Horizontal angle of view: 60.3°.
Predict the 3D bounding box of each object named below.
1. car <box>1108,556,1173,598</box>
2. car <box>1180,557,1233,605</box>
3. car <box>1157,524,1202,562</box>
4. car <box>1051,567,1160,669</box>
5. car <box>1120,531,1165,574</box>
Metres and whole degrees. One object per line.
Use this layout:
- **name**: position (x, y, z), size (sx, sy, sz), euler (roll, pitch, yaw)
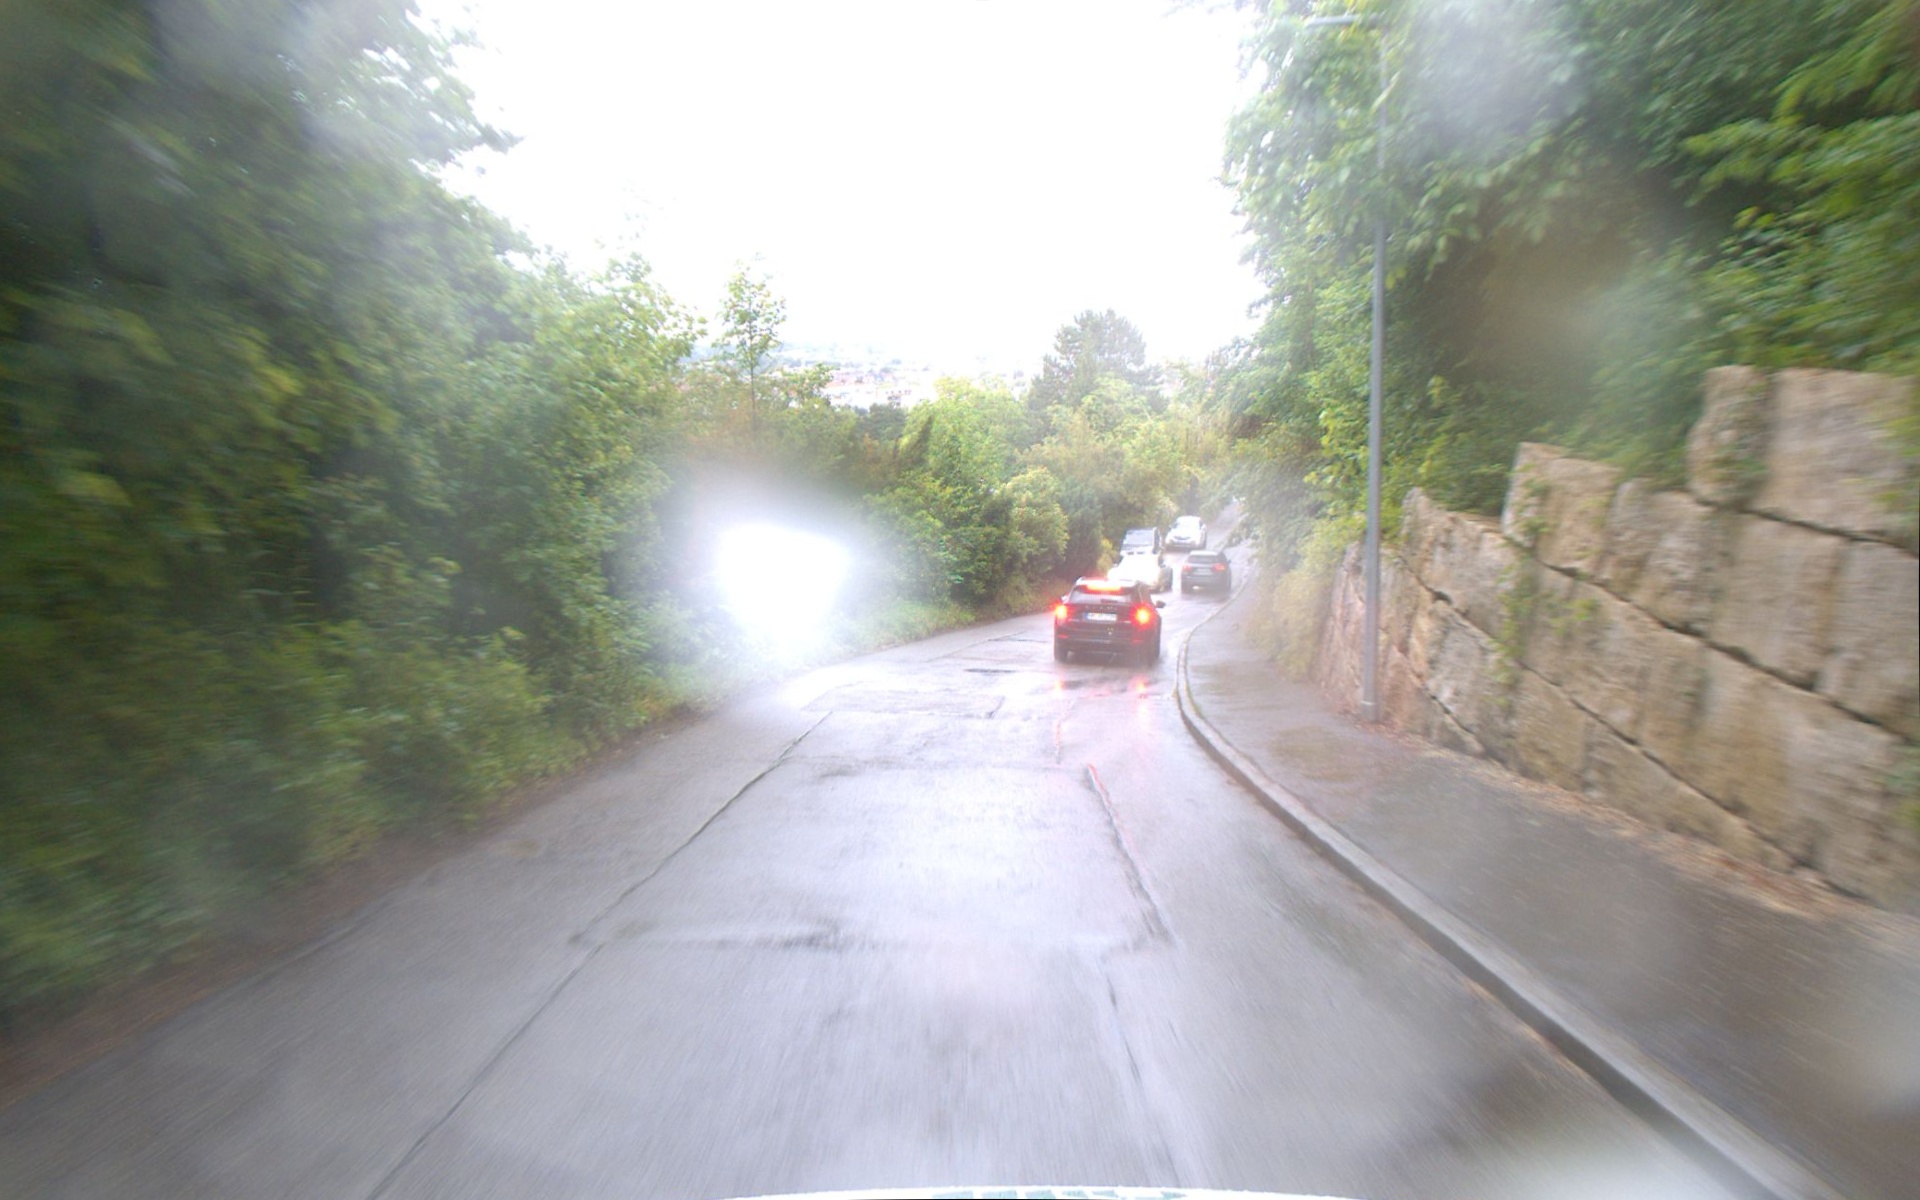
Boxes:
- **car**: position (7.128, -0.886, 64.858), size (1.900, 1.548, 4.583), euler (2, 0, 14)
- **car**: position (9.693, -0.727, 64.915), size (1.823, 1.773, 4.004), euler (2, 0, 11)
- **car**: position (11.699, -3.054, 87.996), size (2.004, 1.627, 4.236), euler (3, 6, 11)
- **car**: position (2.674, 0.253, 29.699), size (1.663, 1.475, 4.006), euler (0, 4, 9)
- **car**: position (8.668, -2.282, 78.405), size (1.653, 1.813, 4.238), euler (0, 5, 13)
